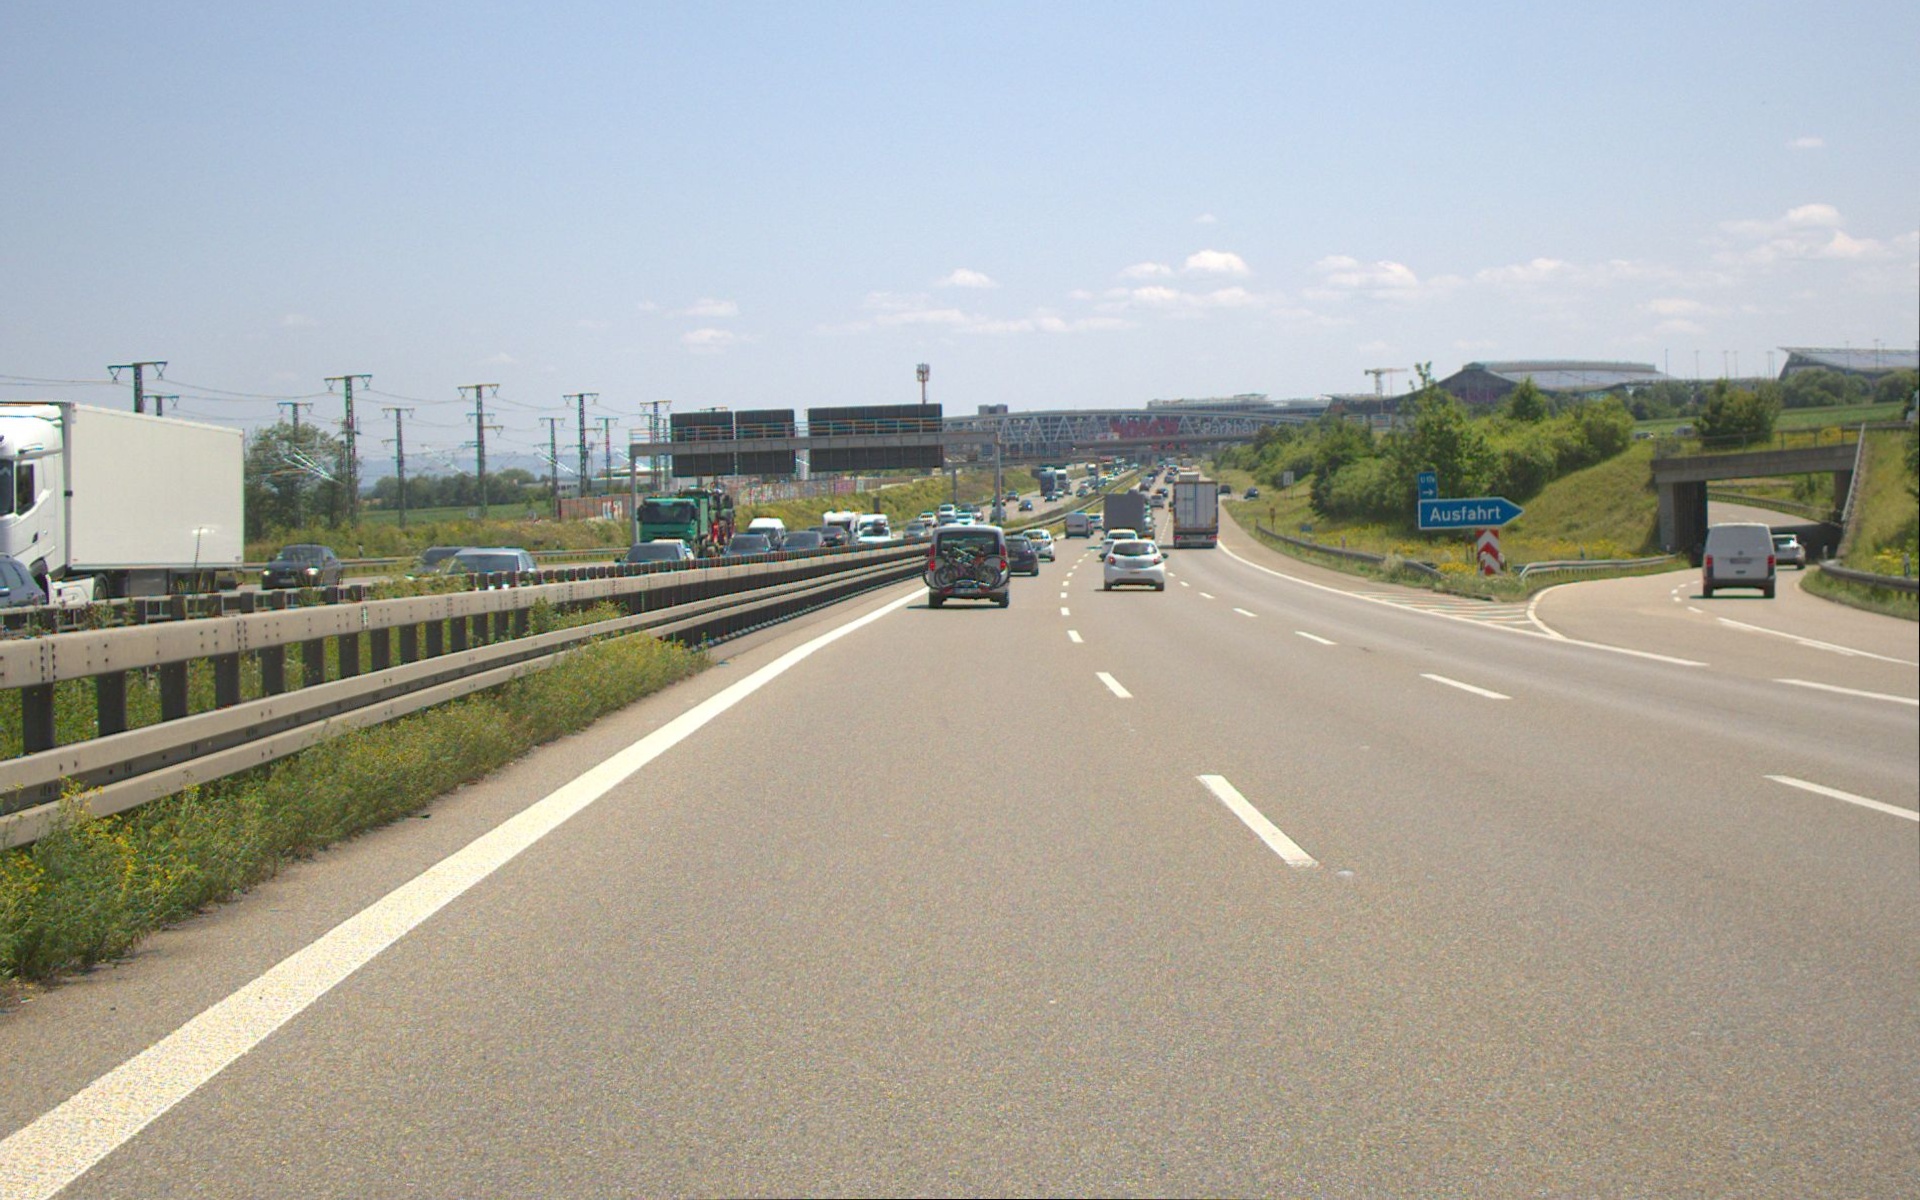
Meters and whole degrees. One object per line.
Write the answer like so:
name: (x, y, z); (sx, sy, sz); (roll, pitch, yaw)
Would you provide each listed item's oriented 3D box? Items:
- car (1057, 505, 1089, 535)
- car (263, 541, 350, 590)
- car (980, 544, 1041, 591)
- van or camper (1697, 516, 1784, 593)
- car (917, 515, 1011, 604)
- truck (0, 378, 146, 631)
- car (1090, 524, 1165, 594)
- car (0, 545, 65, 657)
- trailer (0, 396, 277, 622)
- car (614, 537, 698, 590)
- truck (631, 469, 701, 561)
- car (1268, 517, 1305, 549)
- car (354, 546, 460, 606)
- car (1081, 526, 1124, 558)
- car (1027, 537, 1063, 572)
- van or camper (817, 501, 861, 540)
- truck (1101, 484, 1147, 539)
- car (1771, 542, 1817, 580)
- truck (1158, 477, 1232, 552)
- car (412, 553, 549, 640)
car: (8.250, -5.856, 250.878); (2.186, 1.996, 4.001); (0, 3, 1)
car: (-19.448, -1.051, 102.523); (1.696, 1.420, 4.455); (0, 1, 1)
car: (1.852, -1.161, 124.191); (1.927, 1.621, 4.517); (0, 0, 4)
van or camper: (20.911, -1.201, 92.258); (2.157, 2.007, 4.302); (0, 0, 11)
car: (0.122, -0.877, 76.744); (1.927, 1.912, 4.948); (0, 0, 2)
truck: (-17.109, -1.646, 60.969); (3.248, 4.195, 7.693); (0, 1, 2)
car: (4.746, -1.142, 97.874); (1.926, 1.912, 4.518); (0, 0, 0)
car: (-13.743, 0.002, 47.002); (1.742, 1.503, 5.102); (0, 1, -1)
trailer: (-16.771, -1.722, 69.430); (3.223, 4.178, 11.408); (0, 0, 2)
car: (-8.523, -1.040, 96.682); (1.841, 1.455, 4.997); (0, 1, 1)
truck: (-14.097, -4.054, 165.459); (2.759, 4.230, 6.978); (0, 0, 0)
car: (20.501, -4.228, 215.954); (1.926, 1.912, 4.518); (0, 2, 0)
car: (-13.956, -0.630, 87.014); (1.841, 1.455, 4.997); (0, 1, 1)
car: (6.668, -2.696, 160.770); (1.982, 1.468, 4.000); (0, 0, 2)
car: (4.002, -2.126, 161.209); (1.576, 1.547, 3.963); (0, 0, 3)
van or camper: (-8.367, -5.517, 239.162); (2.517, 2.656, 8.064); (0, 1, 2)
truck: (10.077, -5.403, 211.768); (2.702, 3.098, 10.658); (0, 0, 2)
car: (39.970, -1.857, 164.746); (1.995, 1.744, 3.997); (0, 0, 16)
truck: (14.092, -5.213, 207.181); (4.039, 4.247, 11.757); (0, 3, 2)
car: (-9.195, -0.106, 66.286); (1.731, 1.583, 5.355); (0, 1, 2)
